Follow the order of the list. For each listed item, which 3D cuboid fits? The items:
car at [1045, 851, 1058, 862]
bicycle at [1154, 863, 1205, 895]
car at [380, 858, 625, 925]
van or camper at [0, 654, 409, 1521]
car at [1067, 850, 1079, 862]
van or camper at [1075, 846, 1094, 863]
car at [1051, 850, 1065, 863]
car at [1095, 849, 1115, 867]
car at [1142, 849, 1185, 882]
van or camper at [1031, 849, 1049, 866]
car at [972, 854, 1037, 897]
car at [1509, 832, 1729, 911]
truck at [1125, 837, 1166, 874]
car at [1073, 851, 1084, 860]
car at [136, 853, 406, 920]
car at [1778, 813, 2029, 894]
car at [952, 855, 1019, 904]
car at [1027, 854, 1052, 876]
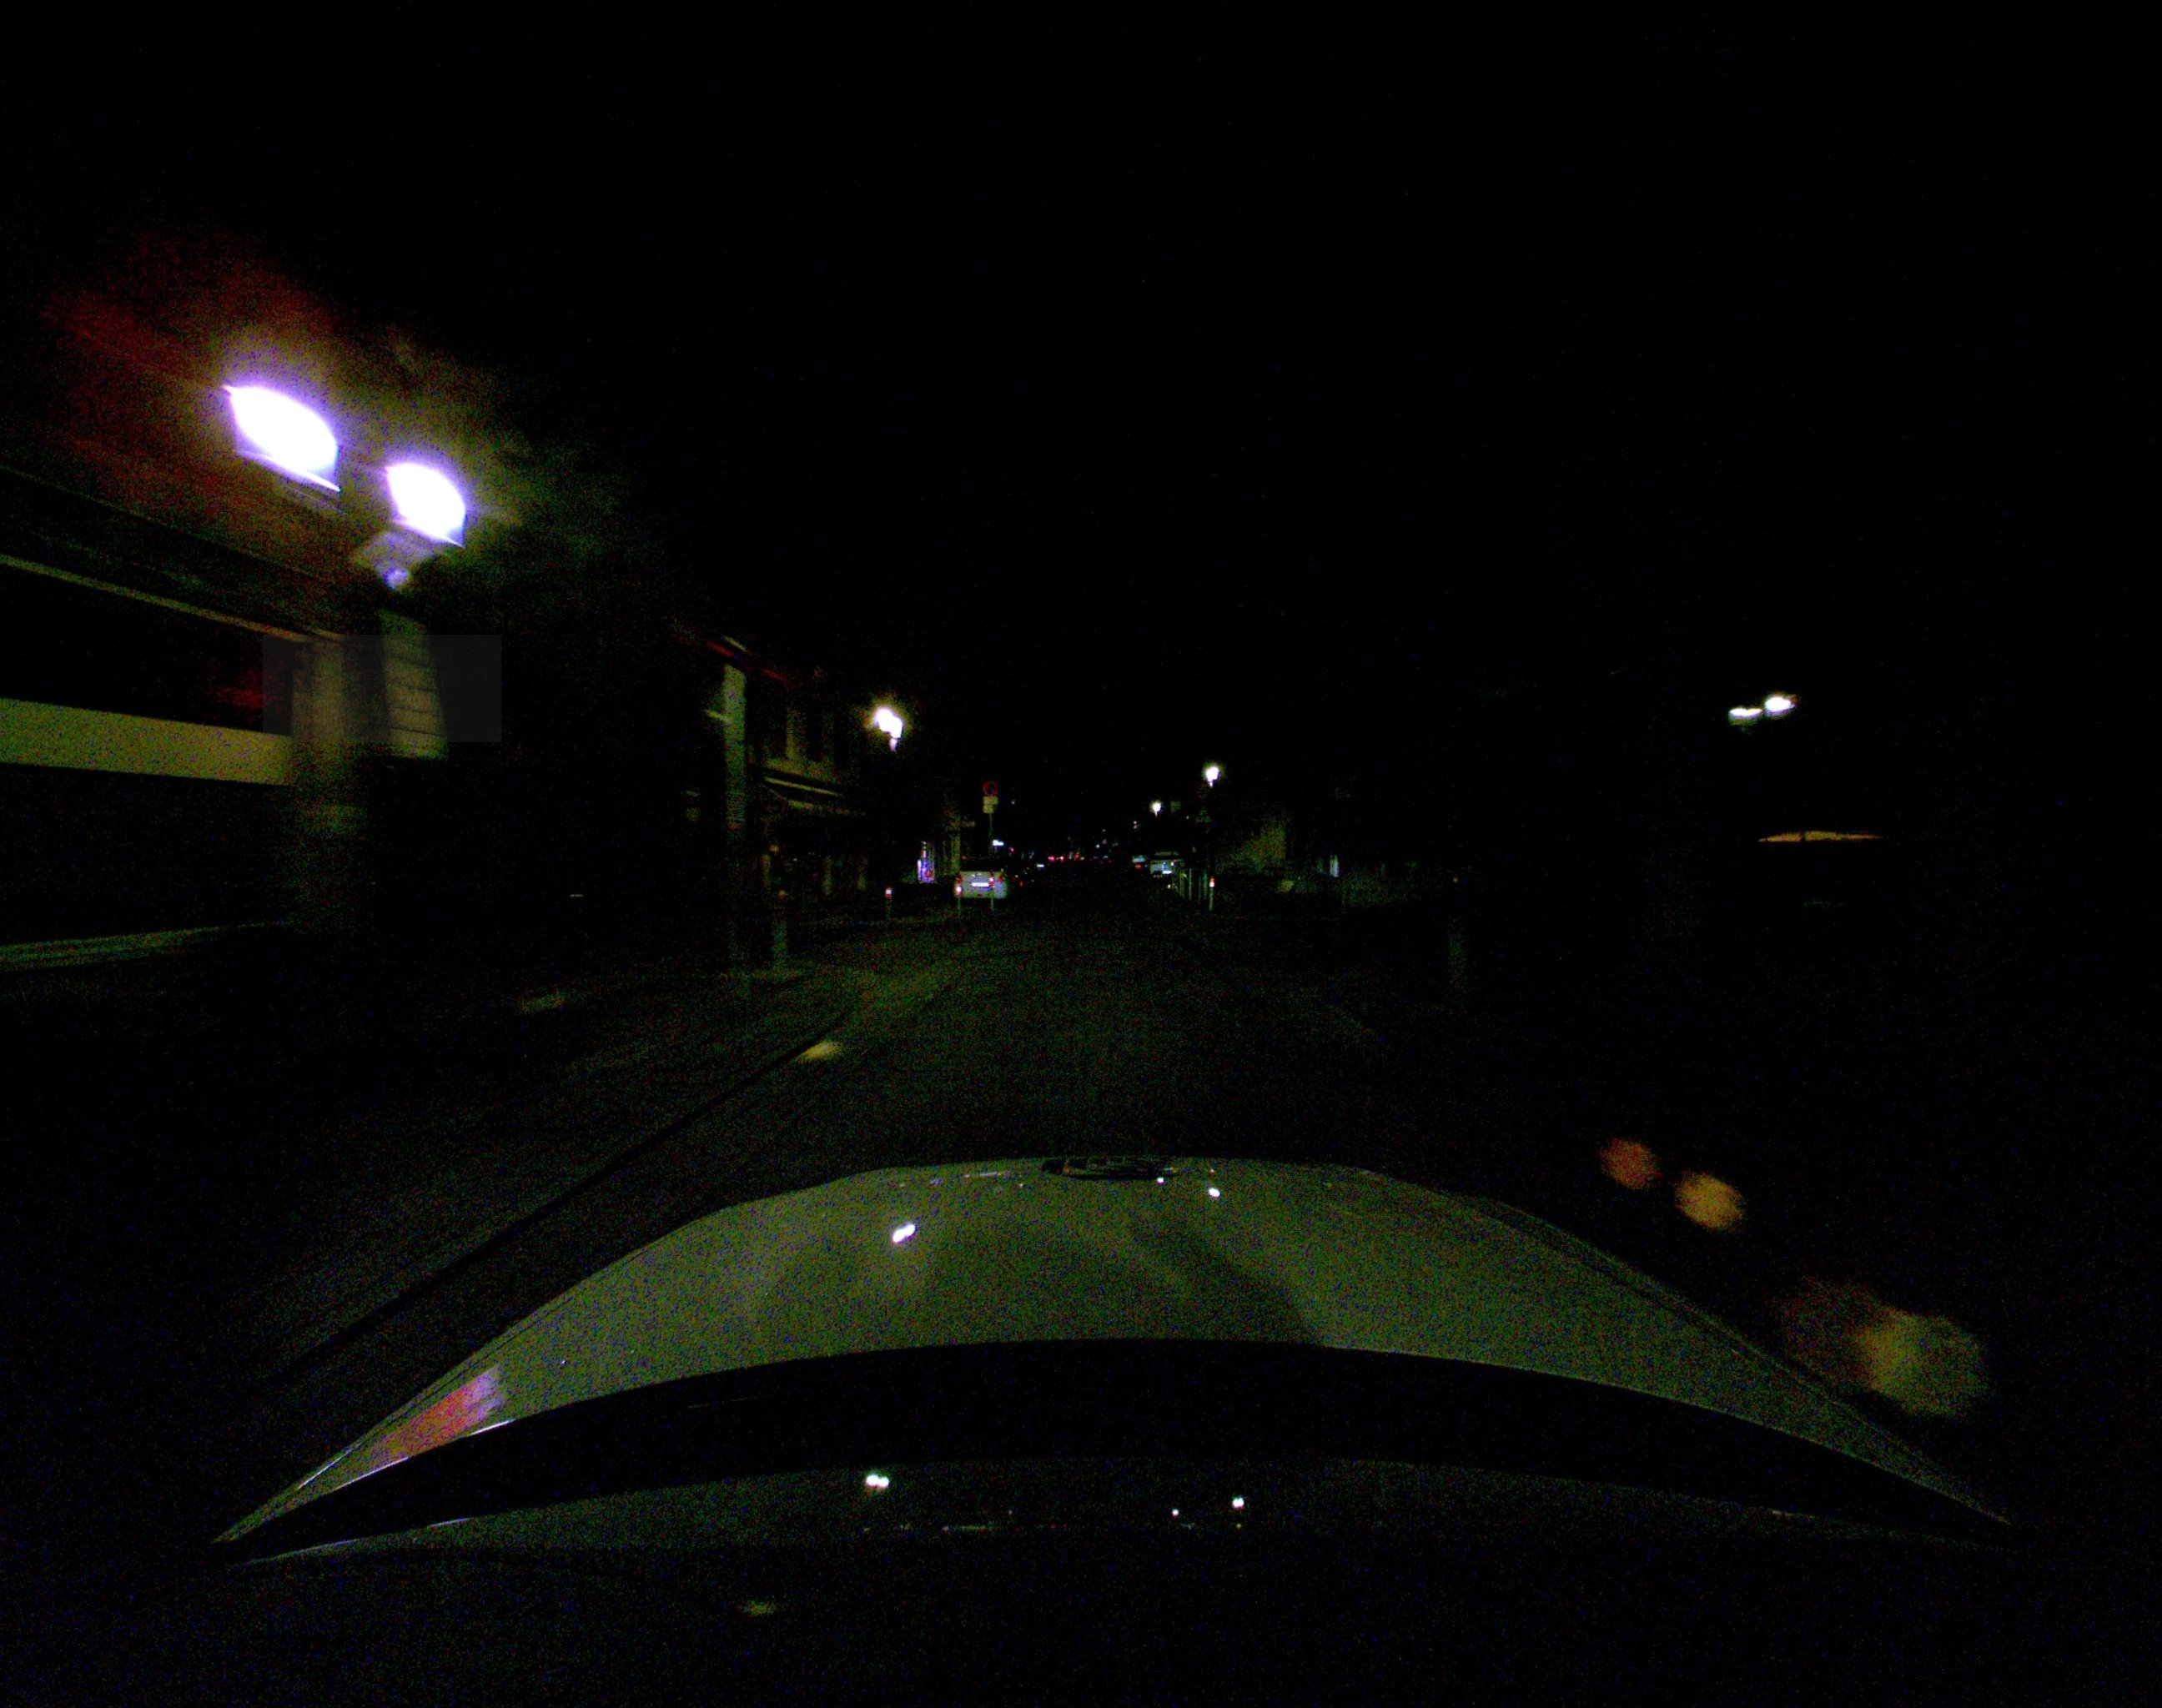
[{"bbox_3d":[-4.944,0.432,134.453,1.990,1.702,3.994,-1,0,-4],"label":"car"},{"bbox_3d":[3.468,0.880,28.742,1.750,1.062,0.346,-1,0,-2],"label":"bicycle"},{"bbox_3d":[-12.480,0.805,17.787,3.975,1.376,1.808,0,-2,-1],"label":"car"},{"bbox_3d":[-3.516,0.520,0.315,1.836,1.942,5.163,0,0,6],"label":"van or camper"},{"bbox_3d":[-1.349,0.380,135.962,1.836,1.901,3.839,-1,0,-4],"label":"car"},{"bbox_3d":[0.479,0.025,117.061,2.106,2.317,4.253,-2,0,-6],"label":"van or camper"},{"bbox_3d":[-3.440,0.355,120.582,1.990,1.823,3.994,-1,0,-4],"label":"car"},{"bbox_3d":[2.661,0.441,91.106,1.812,1.828,4.339,-1,0,-5],"label":"car"},{"bbox_3d":[4.038,0.549,40.229,1.782,1.491,4.060,-2,0,2],"label":"car"},{"bbox_3d":[-4.932,0.384,97.844,1.864,2.011,4.253,1,0,-6],"label":"van or camper"},{"bbox_3d":[-2.919,0.792,32.210,2.013,1.488,5.007,2,0,0],"label":"car"},{"bbox_3d":[11.627,0.372,17.789,3.601,1.442,1.726,-3,-1,0],"label":"car"},{"bbox_3d":[4.360,0.112,55.592,2.328,2.312,5.780,-2,0,0],"label":"truck"},{"bbox_3d":[-0.380,0.301,130.094,1.528,1.418,3.839,-1,0,-4],"label":"car"},{"bbox_3d":[-17.581,0.705,17.836,3.975,1.391,1.808,0,-2,-1],"label":"car"},{"bbox_3d":[18.094,0.002,18.051,3.838,1.588,1.662,-2,-1,0],"label":"car"},{"bbox_3d":[-3.037,0.784,26.553,1.723,1.477,3.846,0,0,0],"label":"car"},{"bbox_3d":[-3.076,0.768,60.040,1.671,1.543,4.223,0,0,-5],"label":"car"}]
